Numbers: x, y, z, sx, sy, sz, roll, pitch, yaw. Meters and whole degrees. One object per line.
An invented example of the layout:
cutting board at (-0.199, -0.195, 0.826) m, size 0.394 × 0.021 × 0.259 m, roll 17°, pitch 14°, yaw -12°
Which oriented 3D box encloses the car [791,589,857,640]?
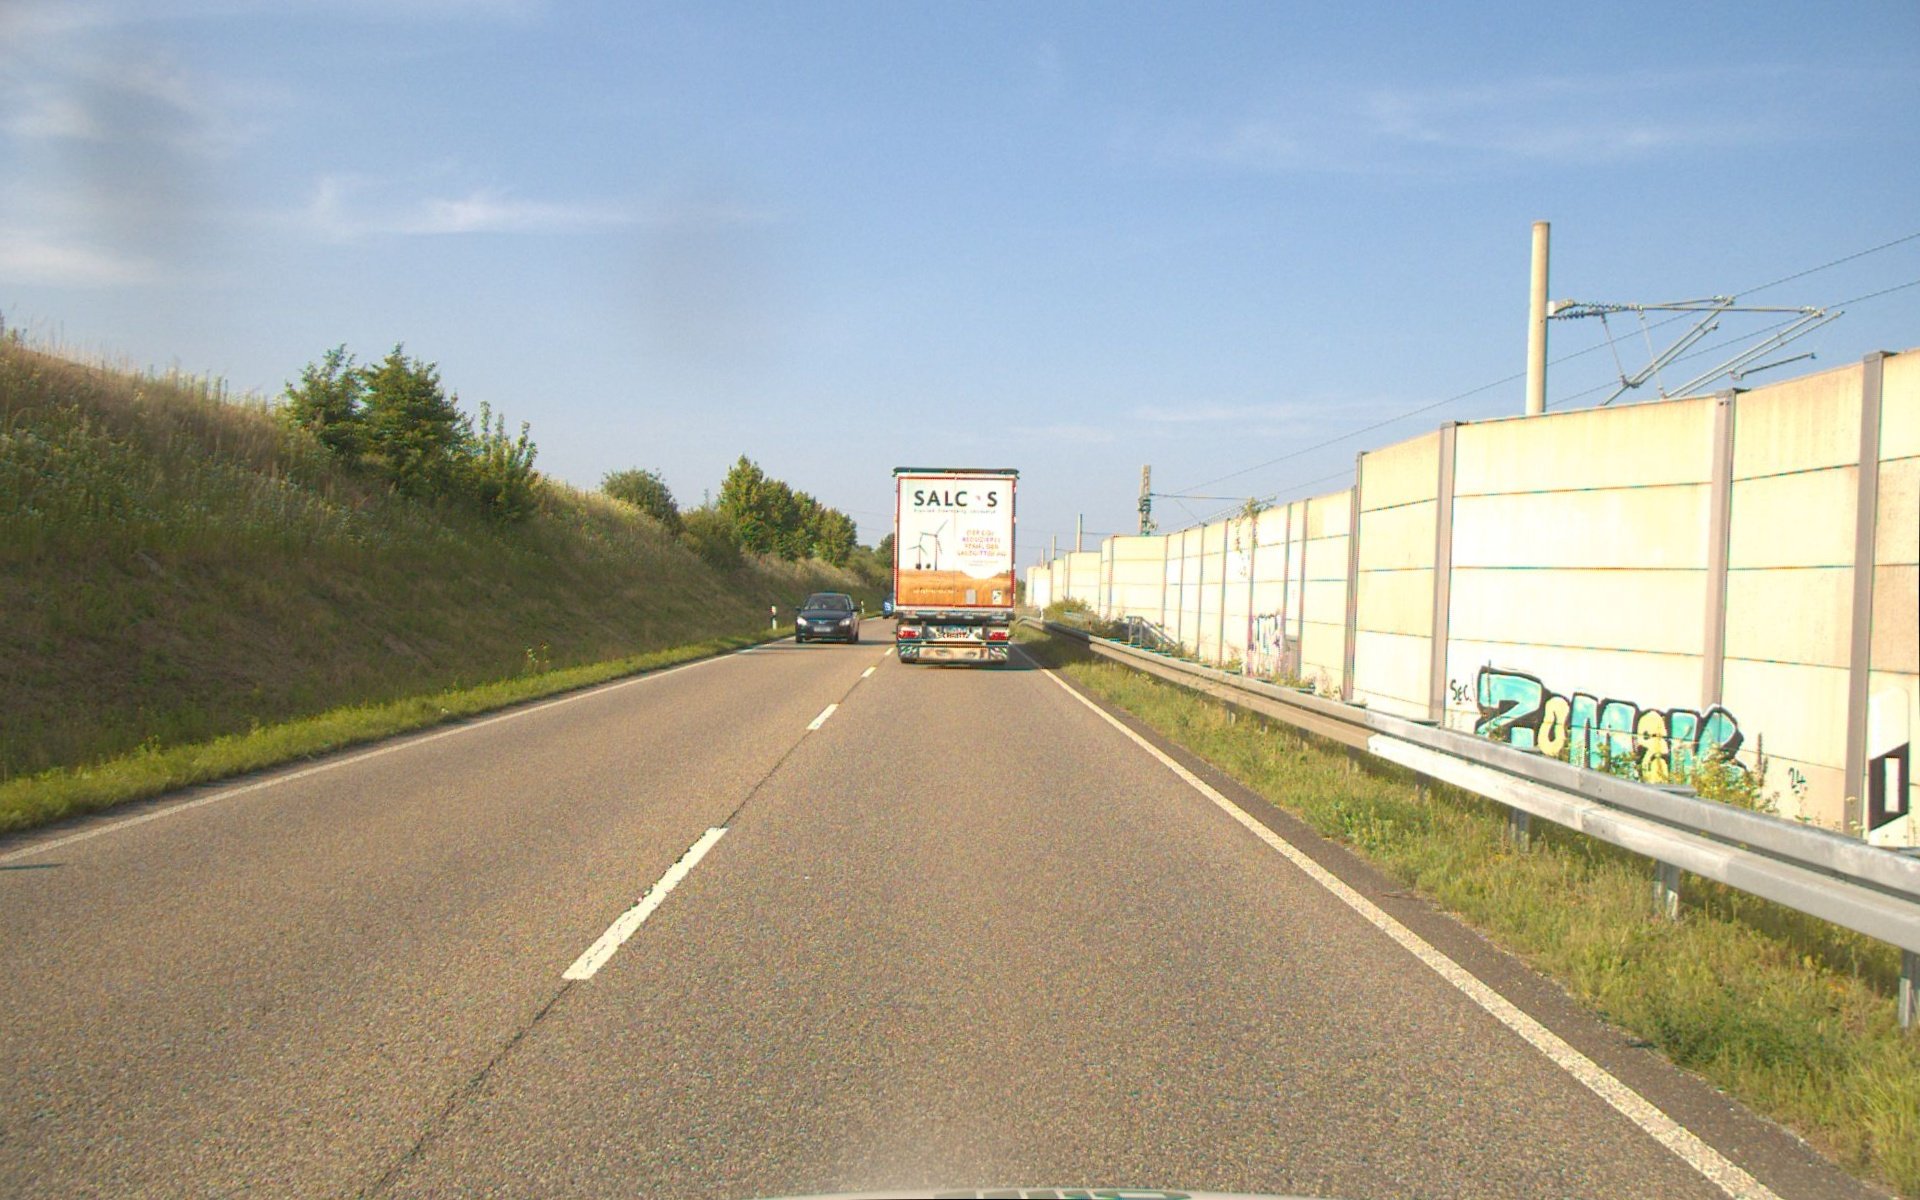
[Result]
car at (-4.096, 0.427, 50.278) m, size 1.681 × 1.479 × 4.018 m, roll 0°, pitch 0°, yaw -1°

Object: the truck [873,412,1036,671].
truck at (-0.135, -1.212, 39.502) m, size 3.223 × 5.179 × 12.036 m, roll 1°, pitch 0°, yaw 0°
